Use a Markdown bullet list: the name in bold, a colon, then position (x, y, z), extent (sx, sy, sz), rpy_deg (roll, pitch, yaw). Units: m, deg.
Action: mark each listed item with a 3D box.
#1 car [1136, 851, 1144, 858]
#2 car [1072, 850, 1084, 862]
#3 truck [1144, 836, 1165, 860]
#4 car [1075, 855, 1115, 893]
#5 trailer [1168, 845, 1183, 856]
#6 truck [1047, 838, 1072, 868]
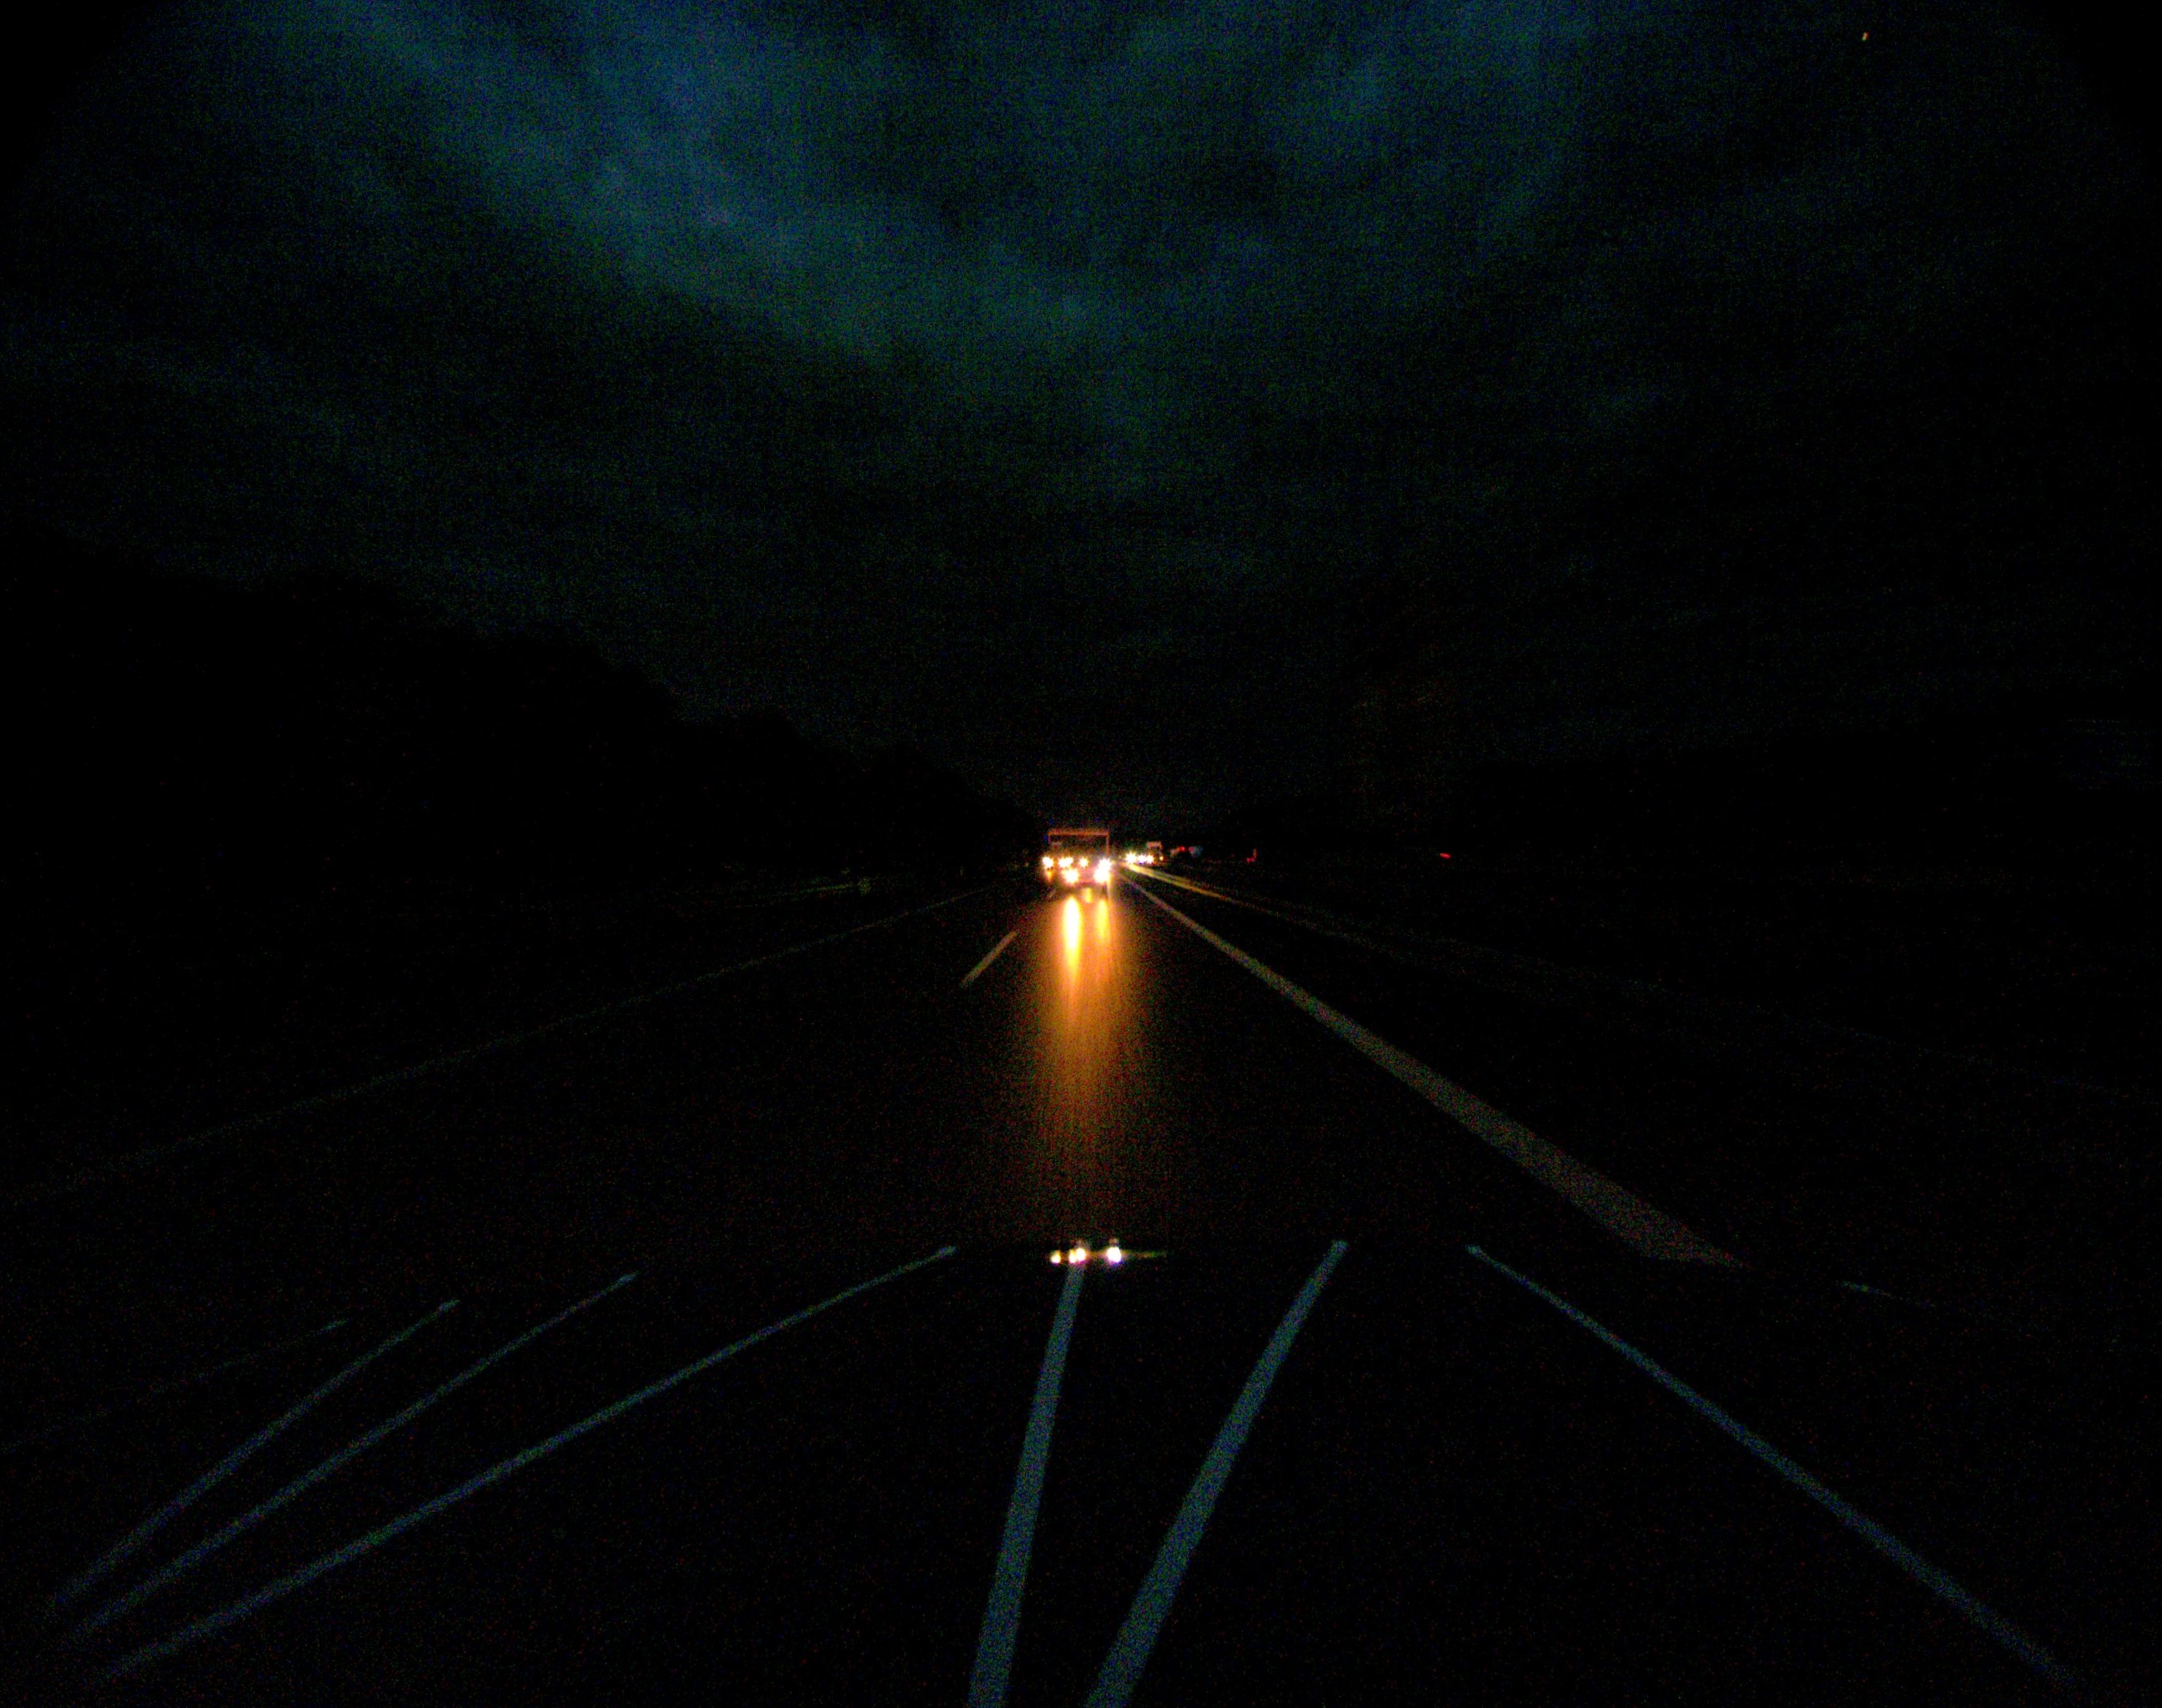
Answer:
- **car**: position (15.425, 0.100, 199.177), extent (1.833, 1.674, 4.229), rpy_deg (-1, 0, 1)
- **car**: position (-0.625, 0.382, 136.367), extent (1.999, 2.002, 3.999), rpy_deg (1, 1, -2)
- **truck**: position (13.488, -1.035, 140.801), extent (3.046, 4.276, 9.890), rpy_deg (1, 1, 1)
- **car**: position (0.612, 0.816, 33.272), extent (1.669, 1.551, 3.757), rpy_deg (1, 0, 1)
- **trailer**: position (32.791, -1.211, 263.949), extent (3.335, 3.743, 13.885), rpy_deg (1, 0, 0)
- **truck**: position (-2.244, -0.106, 79.523), extent (2.274, 2.954, 6.631), rpy_deg (-2, 0, 1)
